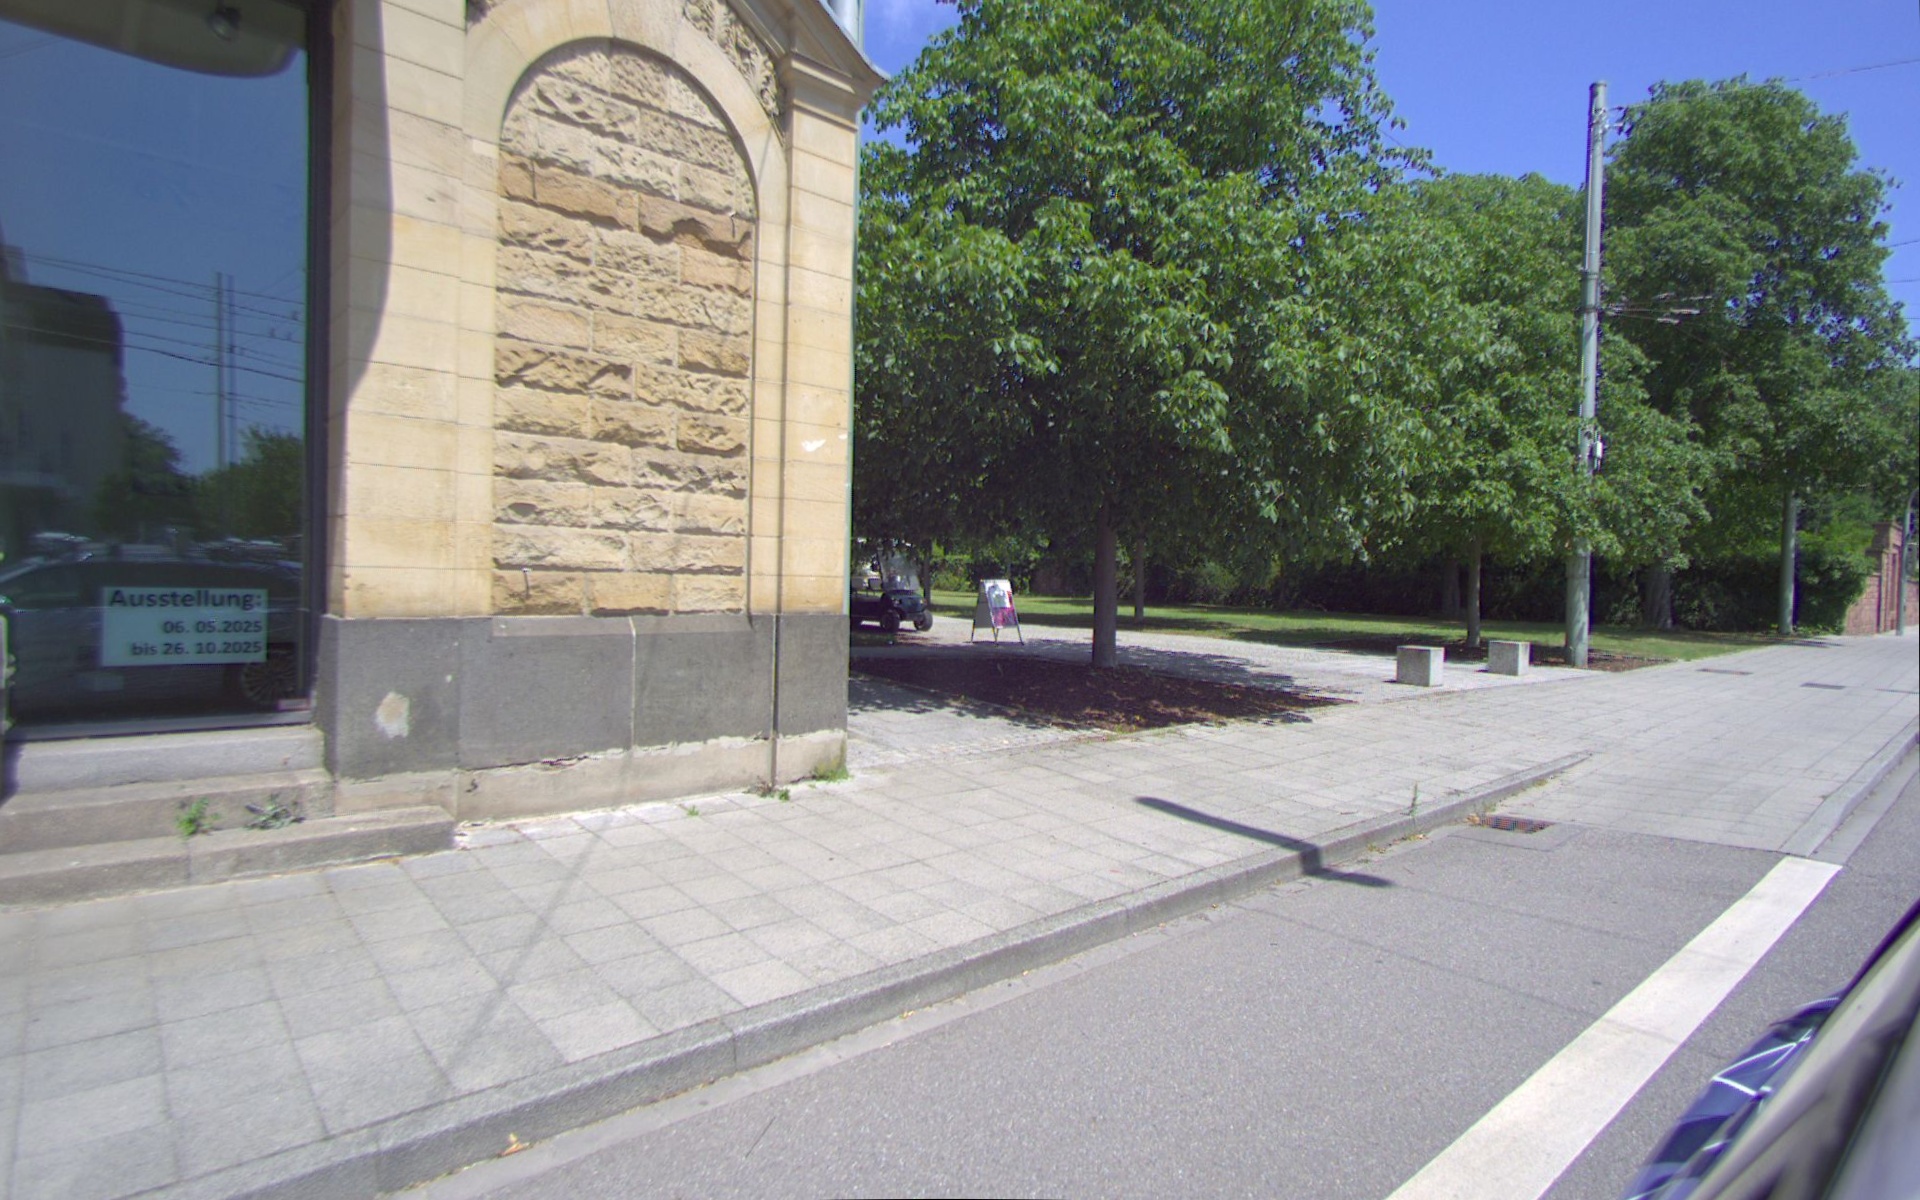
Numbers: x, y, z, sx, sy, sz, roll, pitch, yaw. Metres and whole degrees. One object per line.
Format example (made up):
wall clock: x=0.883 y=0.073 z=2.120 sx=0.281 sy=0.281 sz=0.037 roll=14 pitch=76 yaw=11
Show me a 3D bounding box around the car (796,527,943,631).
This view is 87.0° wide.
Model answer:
car: x=-1.986 y=-0.504 z=21.566 sx=1.439 sy=2.038 sz=3.338 roll=-1 pitch=4 yaw=-41
